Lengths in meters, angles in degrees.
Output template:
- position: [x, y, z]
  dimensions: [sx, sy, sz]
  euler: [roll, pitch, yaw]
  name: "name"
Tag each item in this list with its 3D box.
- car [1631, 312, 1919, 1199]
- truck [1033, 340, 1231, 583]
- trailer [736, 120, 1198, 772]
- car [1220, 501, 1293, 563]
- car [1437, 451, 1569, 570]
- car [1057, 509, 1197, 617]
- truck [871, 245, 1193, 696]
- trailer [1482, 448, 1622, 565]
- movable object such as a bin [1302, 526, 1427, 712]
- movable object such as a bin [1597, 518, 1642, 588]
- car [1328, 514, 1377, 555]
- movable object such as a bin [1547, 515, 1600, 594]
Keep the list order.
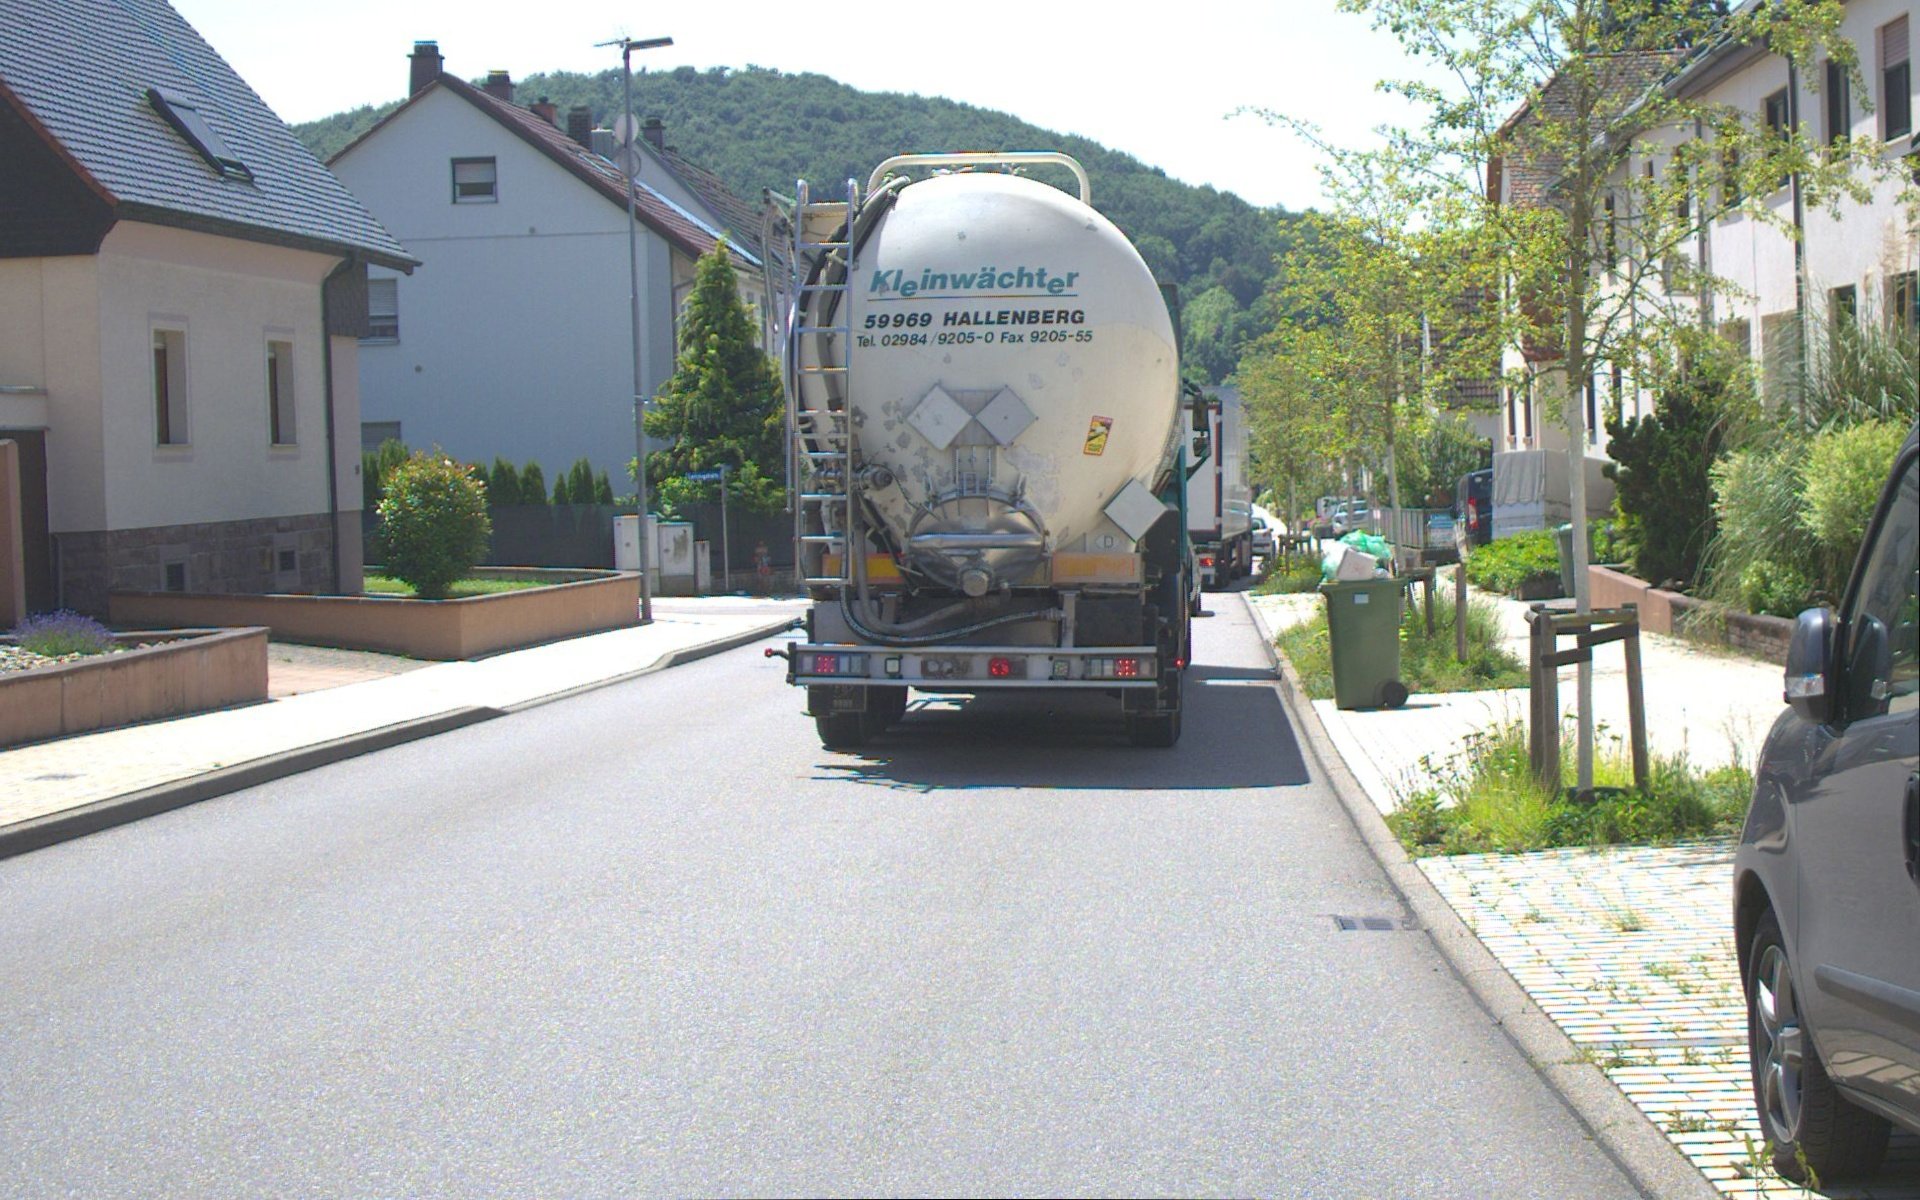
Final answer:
- position: [2.598, 0.379, 6.249]
  dimensions: [1.855, 1.836, 4.671]
  euler: [-2, 1, 1]
  name: "car"
- position: [3.735, -2.994, 76.120]
  dimensions: [3.910, 4.878, 9.796]
  euler: [-2, 1, 2]
  name: "truck"
- position: [0.396, -1.104, 26.343]
  dimensions: [2.796, 3.987, 10.323]
  euler: [0, 2, 4]
  name: "trailer"
- position: [9.181, -2.120, 106.675]
  dimensions: [1.994, 1.815, 4.000]
  euler: [-2, 1, 2]
  name: "car"
- position: [10.227, -1.683, 65.022]
  dimensions: [1.852, 1.964, 4.773]
  euler: [-6, 1, 4]
  name: "car"
- position: [2.671, -0.613, 54.200]
  dimensions: [1.909, 1.549, 3.999]
  euler: [-2, 1, 6]
  name: "car"
- position: [0.811, -1.225, 33.060]
  dimensions: [2.809, 3.923, 6.099]
  euler: [0, 2, 4]
  name: "truck"
- position: [10.365, -1.644, 60.162]
  dimensions: [2.267, 2.007, 1.324]
  euler: [-2, 2, -43]
  name: "trailer"
- position: [3.200, 0.140, 27.298]
  dimensions: [0.792, 1.390, 0.925]
  euler: [-5, 1, 2]
  name: "movable object such as a bin"
- position: [9.789, -0.697, 51.028]
  dimensions: [0.558, 0.982, 0.802]
  euler: [-5, 0, 11]
  name: "movable object such as a bin"
- position: [15.225, -2.543, 133.389]
  dimensions: [1.791, 1.536, 4.519]
  euler: [-2, 1, 6]
  name: "car"
- position: [9.089, -0.683, 50.959]
  dimensions: [0.684, 1.111, 0.812]
  euler: [-5, 0, 10]
  name: "movable object such as a bin"
